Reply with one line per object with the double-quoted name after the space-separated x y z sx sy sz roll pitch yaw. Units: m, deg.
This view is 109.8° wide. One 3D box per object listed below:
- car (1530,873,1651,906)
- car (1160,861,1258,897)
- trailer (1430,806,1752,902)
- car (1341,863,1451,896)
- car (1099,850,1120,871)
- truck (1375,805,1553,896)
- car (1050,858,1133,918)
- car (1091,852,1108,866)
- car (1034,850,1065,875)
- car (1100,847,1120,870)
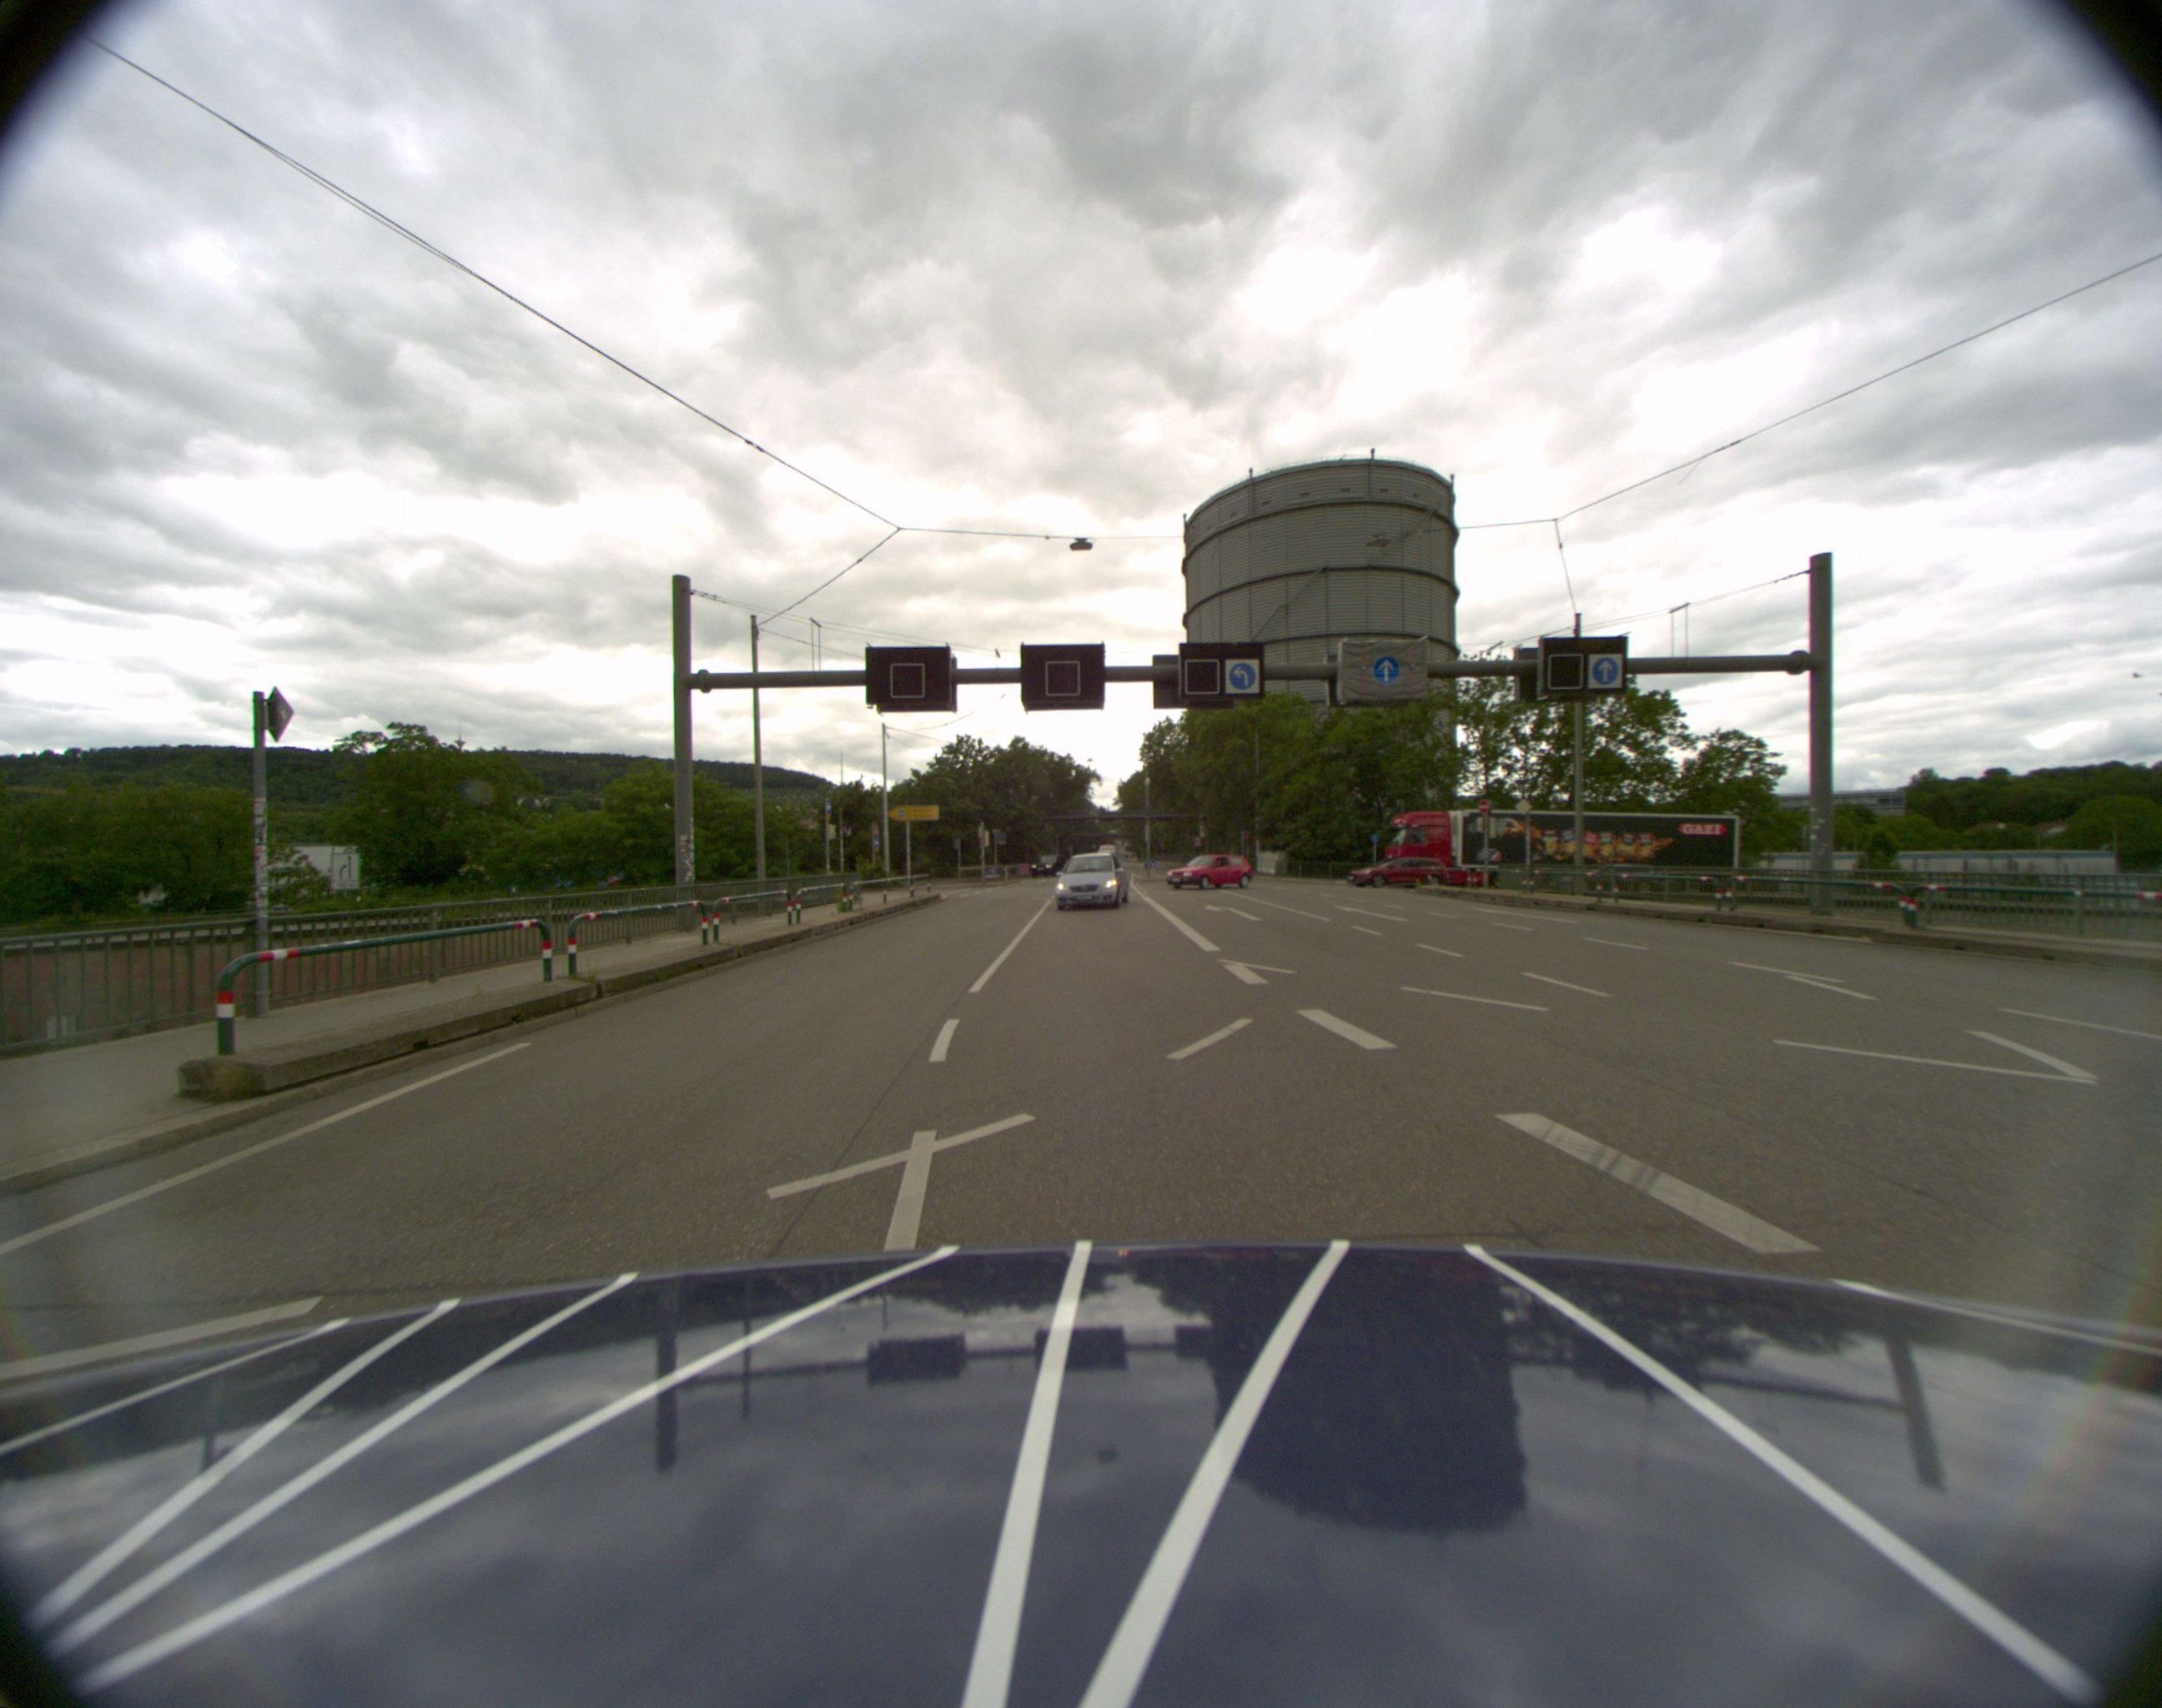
23.835 1.637 35.657 4.463 1.411 1.698 1 0 4 "car"
5.422 1.048 32.133 3.962 1.454 1.744 1 -2 -34 "car"
25.715 -0.013 38.998 13.768 4.296 3.672 2 0 2 "trailer"
14.702 1.186 35.555 4.466 1.411 1.697 -1 0 -6 "car"
2.799 0.636 74.930 1.933 1.987 4.453 0 -1 1 "car"
19.523 -0.165 39.196 7.228 4.296 3.672 2 0 2 "truck"
0.411 0.944 22.602 1.745 1.594 3.686 1 -1 12 "car"
2.717 0.720 110.447 2.330 1.905 5.401 0 1 4 "car"
-2.597 0.654 63.764 2.331 1.905 4.947 0 2 1 "car"
3.395 0.534 89.597 2.331 2.509 4.949 1 0 1 "car"
